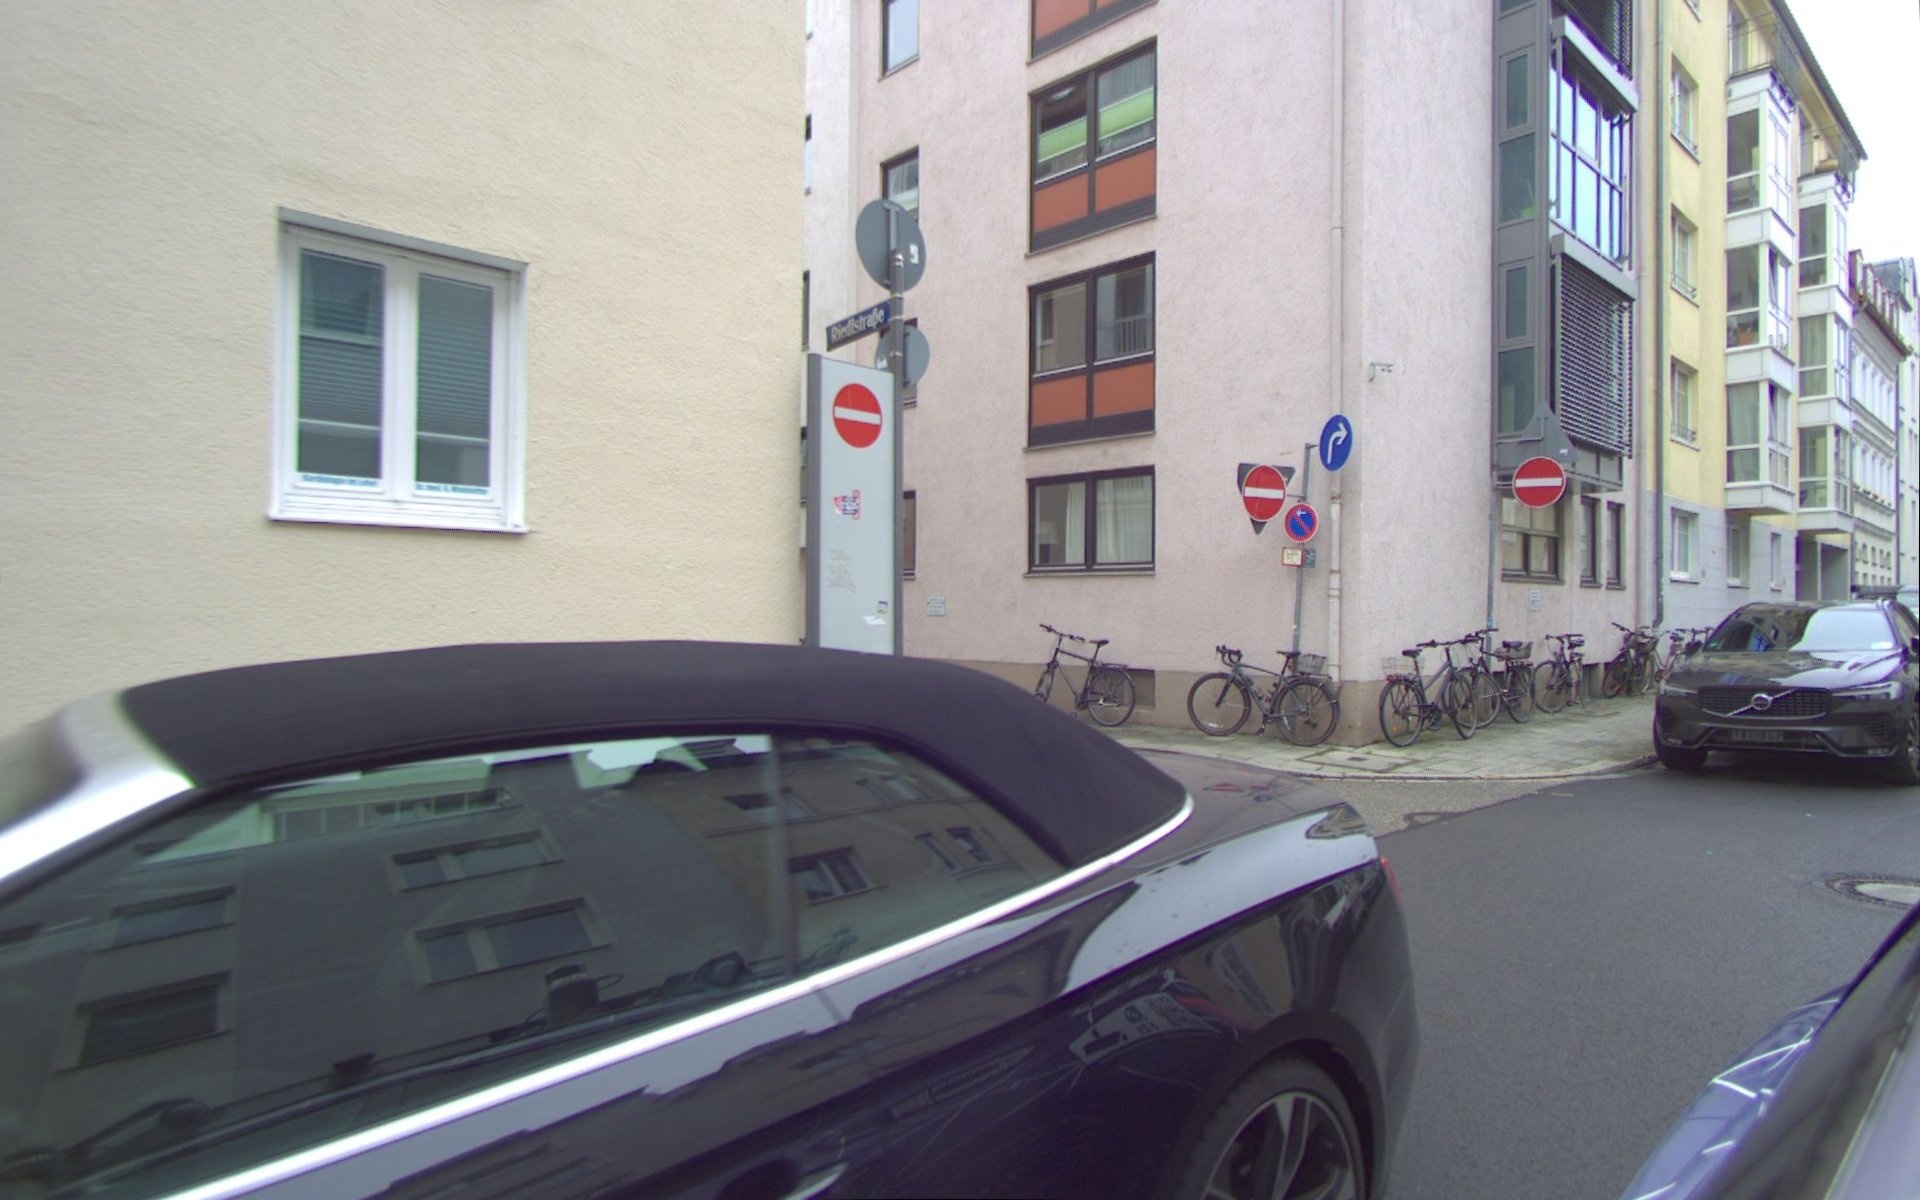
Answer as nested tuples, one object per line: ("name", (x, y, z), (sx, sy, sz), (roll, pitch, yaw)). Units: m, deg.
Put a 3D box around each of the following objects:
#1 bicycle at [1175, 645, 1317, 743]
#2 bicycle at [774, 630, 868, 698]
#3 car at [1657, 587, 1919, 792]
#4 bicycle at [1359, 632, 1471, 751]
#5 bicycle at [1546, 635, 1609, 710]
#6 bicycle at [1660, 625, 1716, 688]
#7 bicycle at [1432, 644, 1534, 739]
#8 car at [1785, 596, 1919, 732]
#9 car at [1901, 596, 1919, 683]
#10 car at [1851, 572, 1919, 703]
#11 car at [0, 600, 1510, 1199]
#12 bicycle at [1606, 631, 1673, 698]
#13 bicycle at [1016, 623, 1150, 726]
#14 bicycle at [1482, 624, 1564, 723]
("bicycle", (3.158, 1.010, 11.268), (0.543, 0.959, 1.448), (1, -1, -44))
("bicycle", (-2.283, 1.018, 16.516), (0.601, 1.004, 1.732), (1, -1, -44))
("car", (8.773, 0.729, 10.210), (4.334, 1.642, 1.835), (0, -1, -41))
("bicycle", (4.775, 0.920, 10.595), (1.333, 1.140, 0.551), (1, -1, -40))
("bicycle", (8.426, 0.965, 13.801), (1.247, 0.959, 0.357), (1, -1, -40))
("bicycle", (12.231, 0.928, 16.990), (1.420, 0.988, 0.422), (1, -1, -40))
("bicycle", (5.892, 0.996, 11.389), (1.333, 0.959, 0.551), (1, -1, -40))
("car", (12.927, 0.776, 13.866), (4.249, 1.642, 1.835), (0, -2, -42))
("car", (20.795, 0.749, 20.665), (4.154, 1.707, 1.835), (0, -2, -41))
("car", (16.925, 0.549, 17.317), (5.019, 2.039, 1.875), (-1, -1, -42))
("car", (-0.924, 0.741, 1.682), (4.334, 1.424, 1.835), (0, -1, -41))
("bicycle", (10.497, 0.966, 15.613), (1.548, 0.959, 0.442), (1, -1, -40))
("bicycle", (1.539, 0.903, 12.873), (0.543, 1.194, 1.732), (1, -1, -44))
("bicycle", (6.928, 0.870, 12.427), (1.515, 1.136, 0.357), (1, -1, -40))
